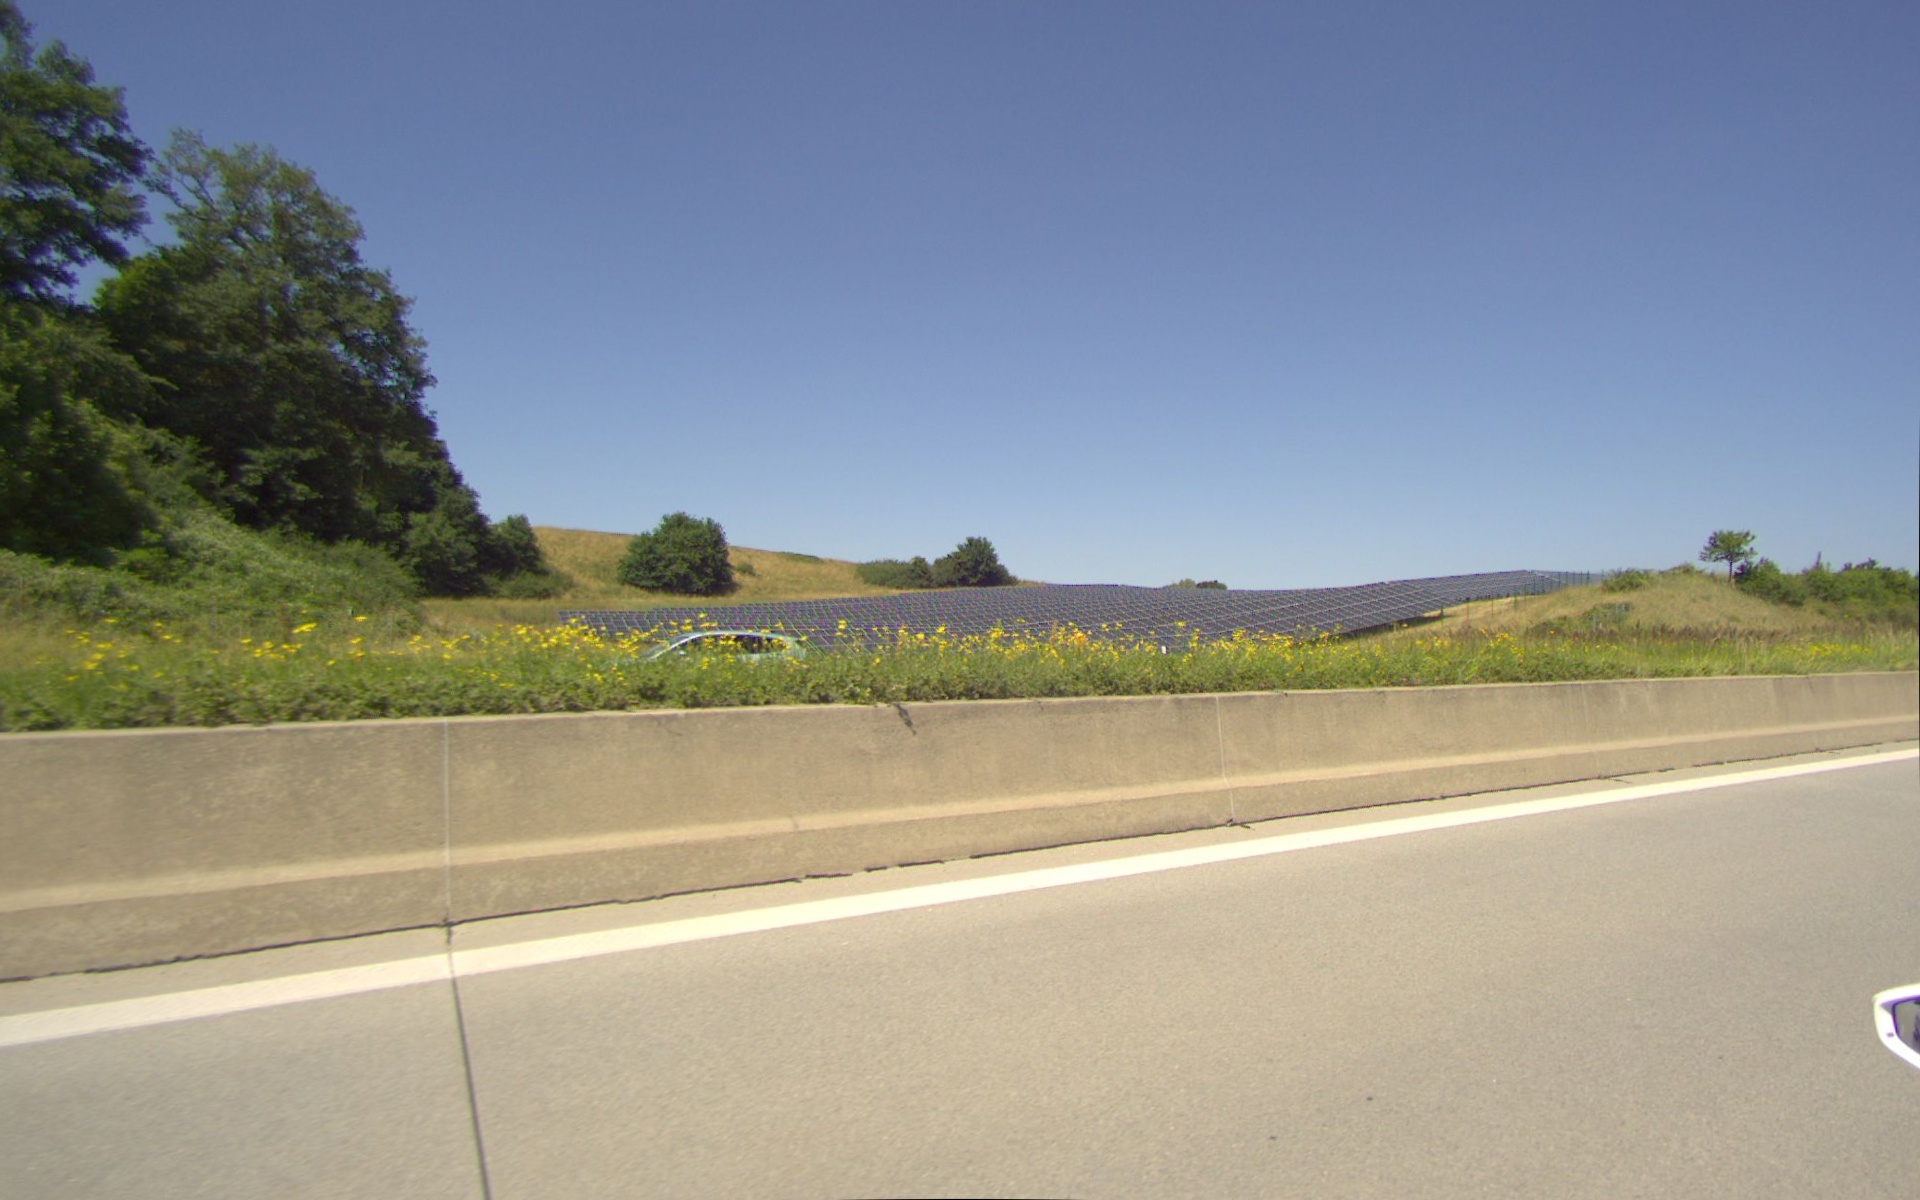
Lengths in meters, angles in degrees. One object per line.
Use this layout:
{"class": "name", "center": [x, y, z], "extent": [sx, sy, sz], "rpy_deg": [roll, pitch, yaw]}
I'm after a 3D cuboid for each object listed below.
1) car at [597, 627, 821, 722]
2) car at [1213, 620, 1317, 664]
{"class": "car", "center": [-4.931, 1.414, 19.826], "extent": [3.953, 1.639, 1.738], "rpy_deg": [2, 0, -30]}
{"class": "car", "center": [10.838, 1.463, 35.678], "extent": [3.587, 1.394, 1.489], "rpy_deg": [1, 3, -31]}
